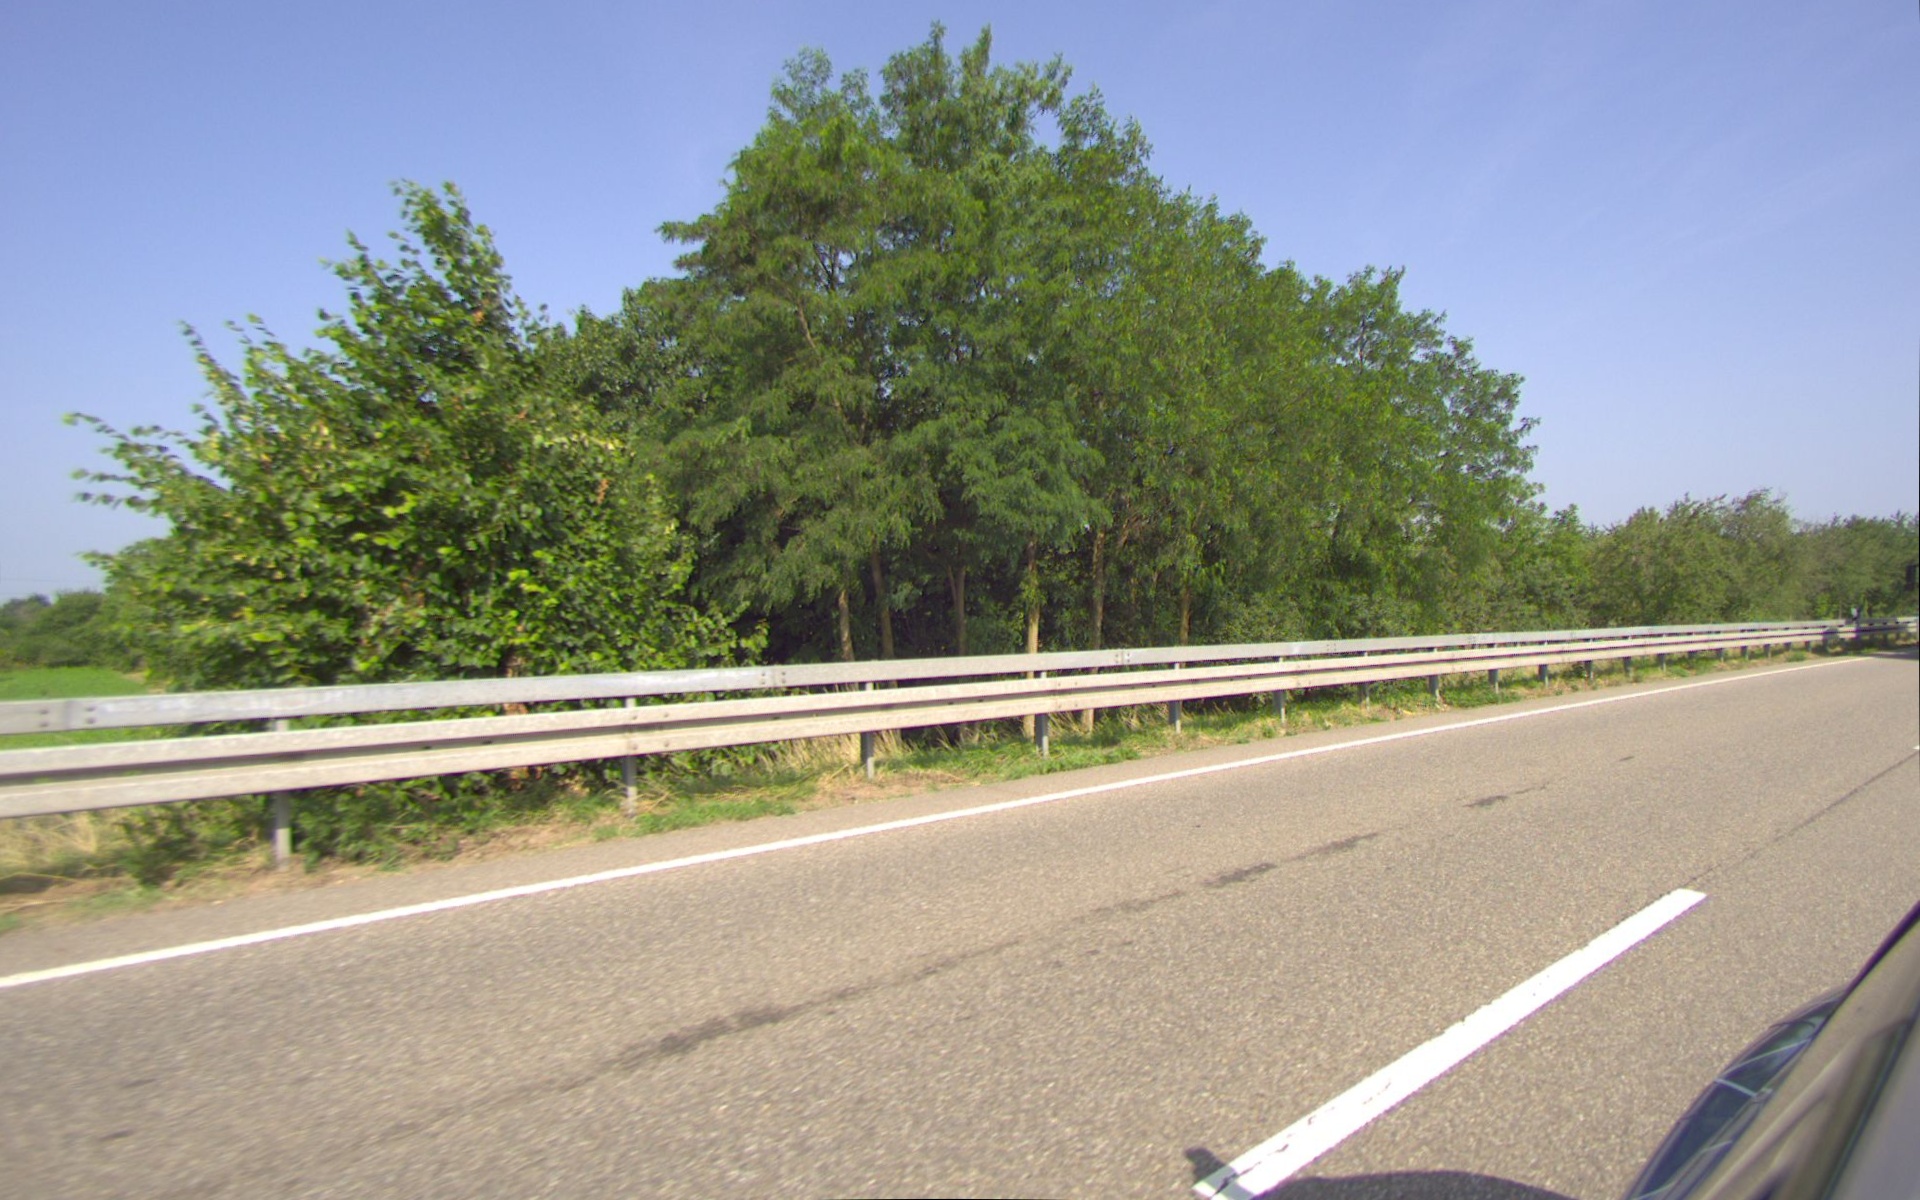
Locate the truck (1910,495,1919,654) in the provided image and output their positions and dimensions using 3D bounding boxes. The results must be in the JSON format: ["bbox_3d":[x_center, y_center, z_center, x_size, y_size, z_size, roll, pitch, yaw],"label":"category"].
[{"bbox_3d":[27.072,-0.642,26.134,5.524,4.011,2.780,-1,1,-37],"label":"truck"}]
